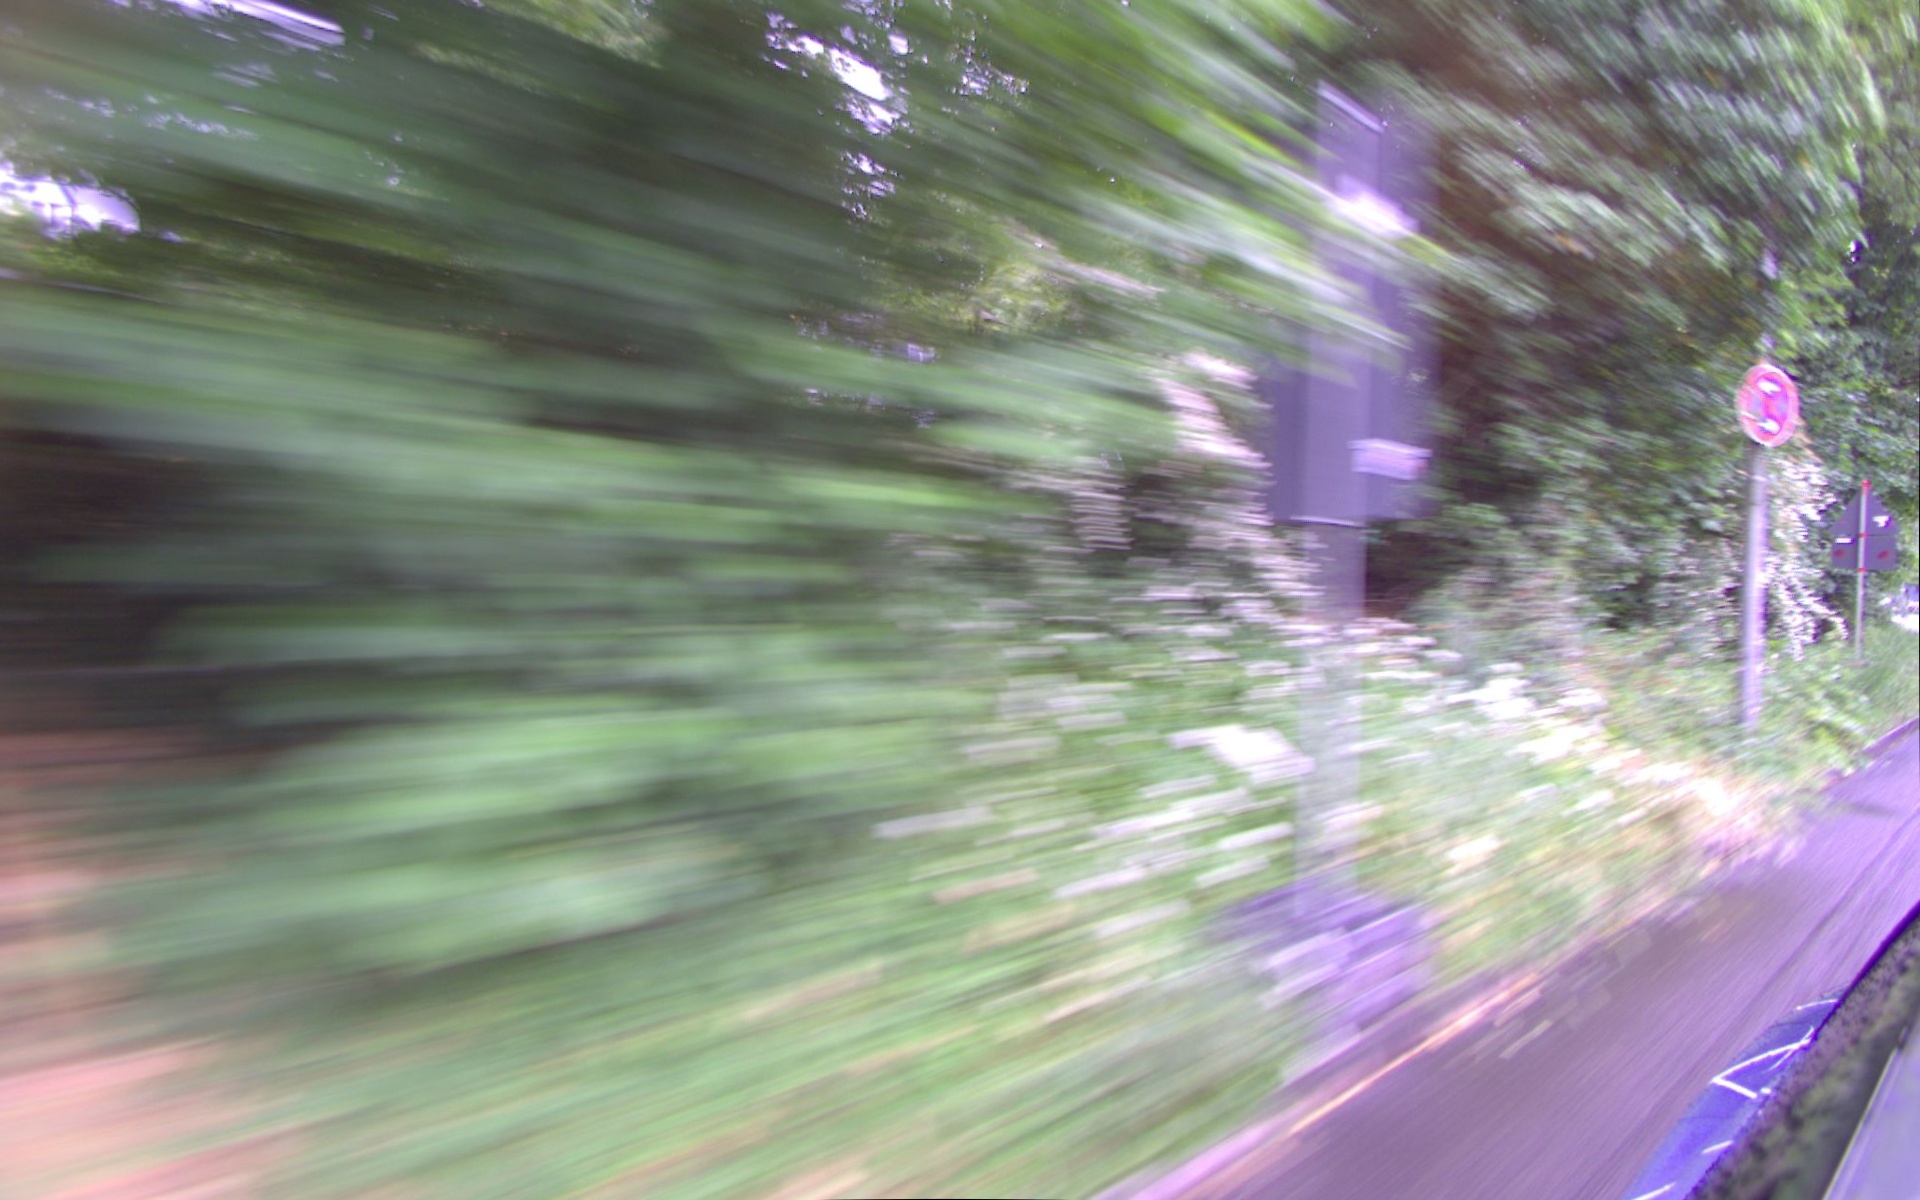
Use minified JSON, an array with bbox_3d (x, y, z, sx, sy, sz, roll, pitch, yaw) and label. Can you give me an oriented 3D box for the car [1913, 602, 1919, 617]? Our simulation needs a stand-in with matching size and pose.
[{"bbox_3d":[104.774,1.061,109.483,1.858,1.620,4.119,2,1,36],"label":"car"}]
